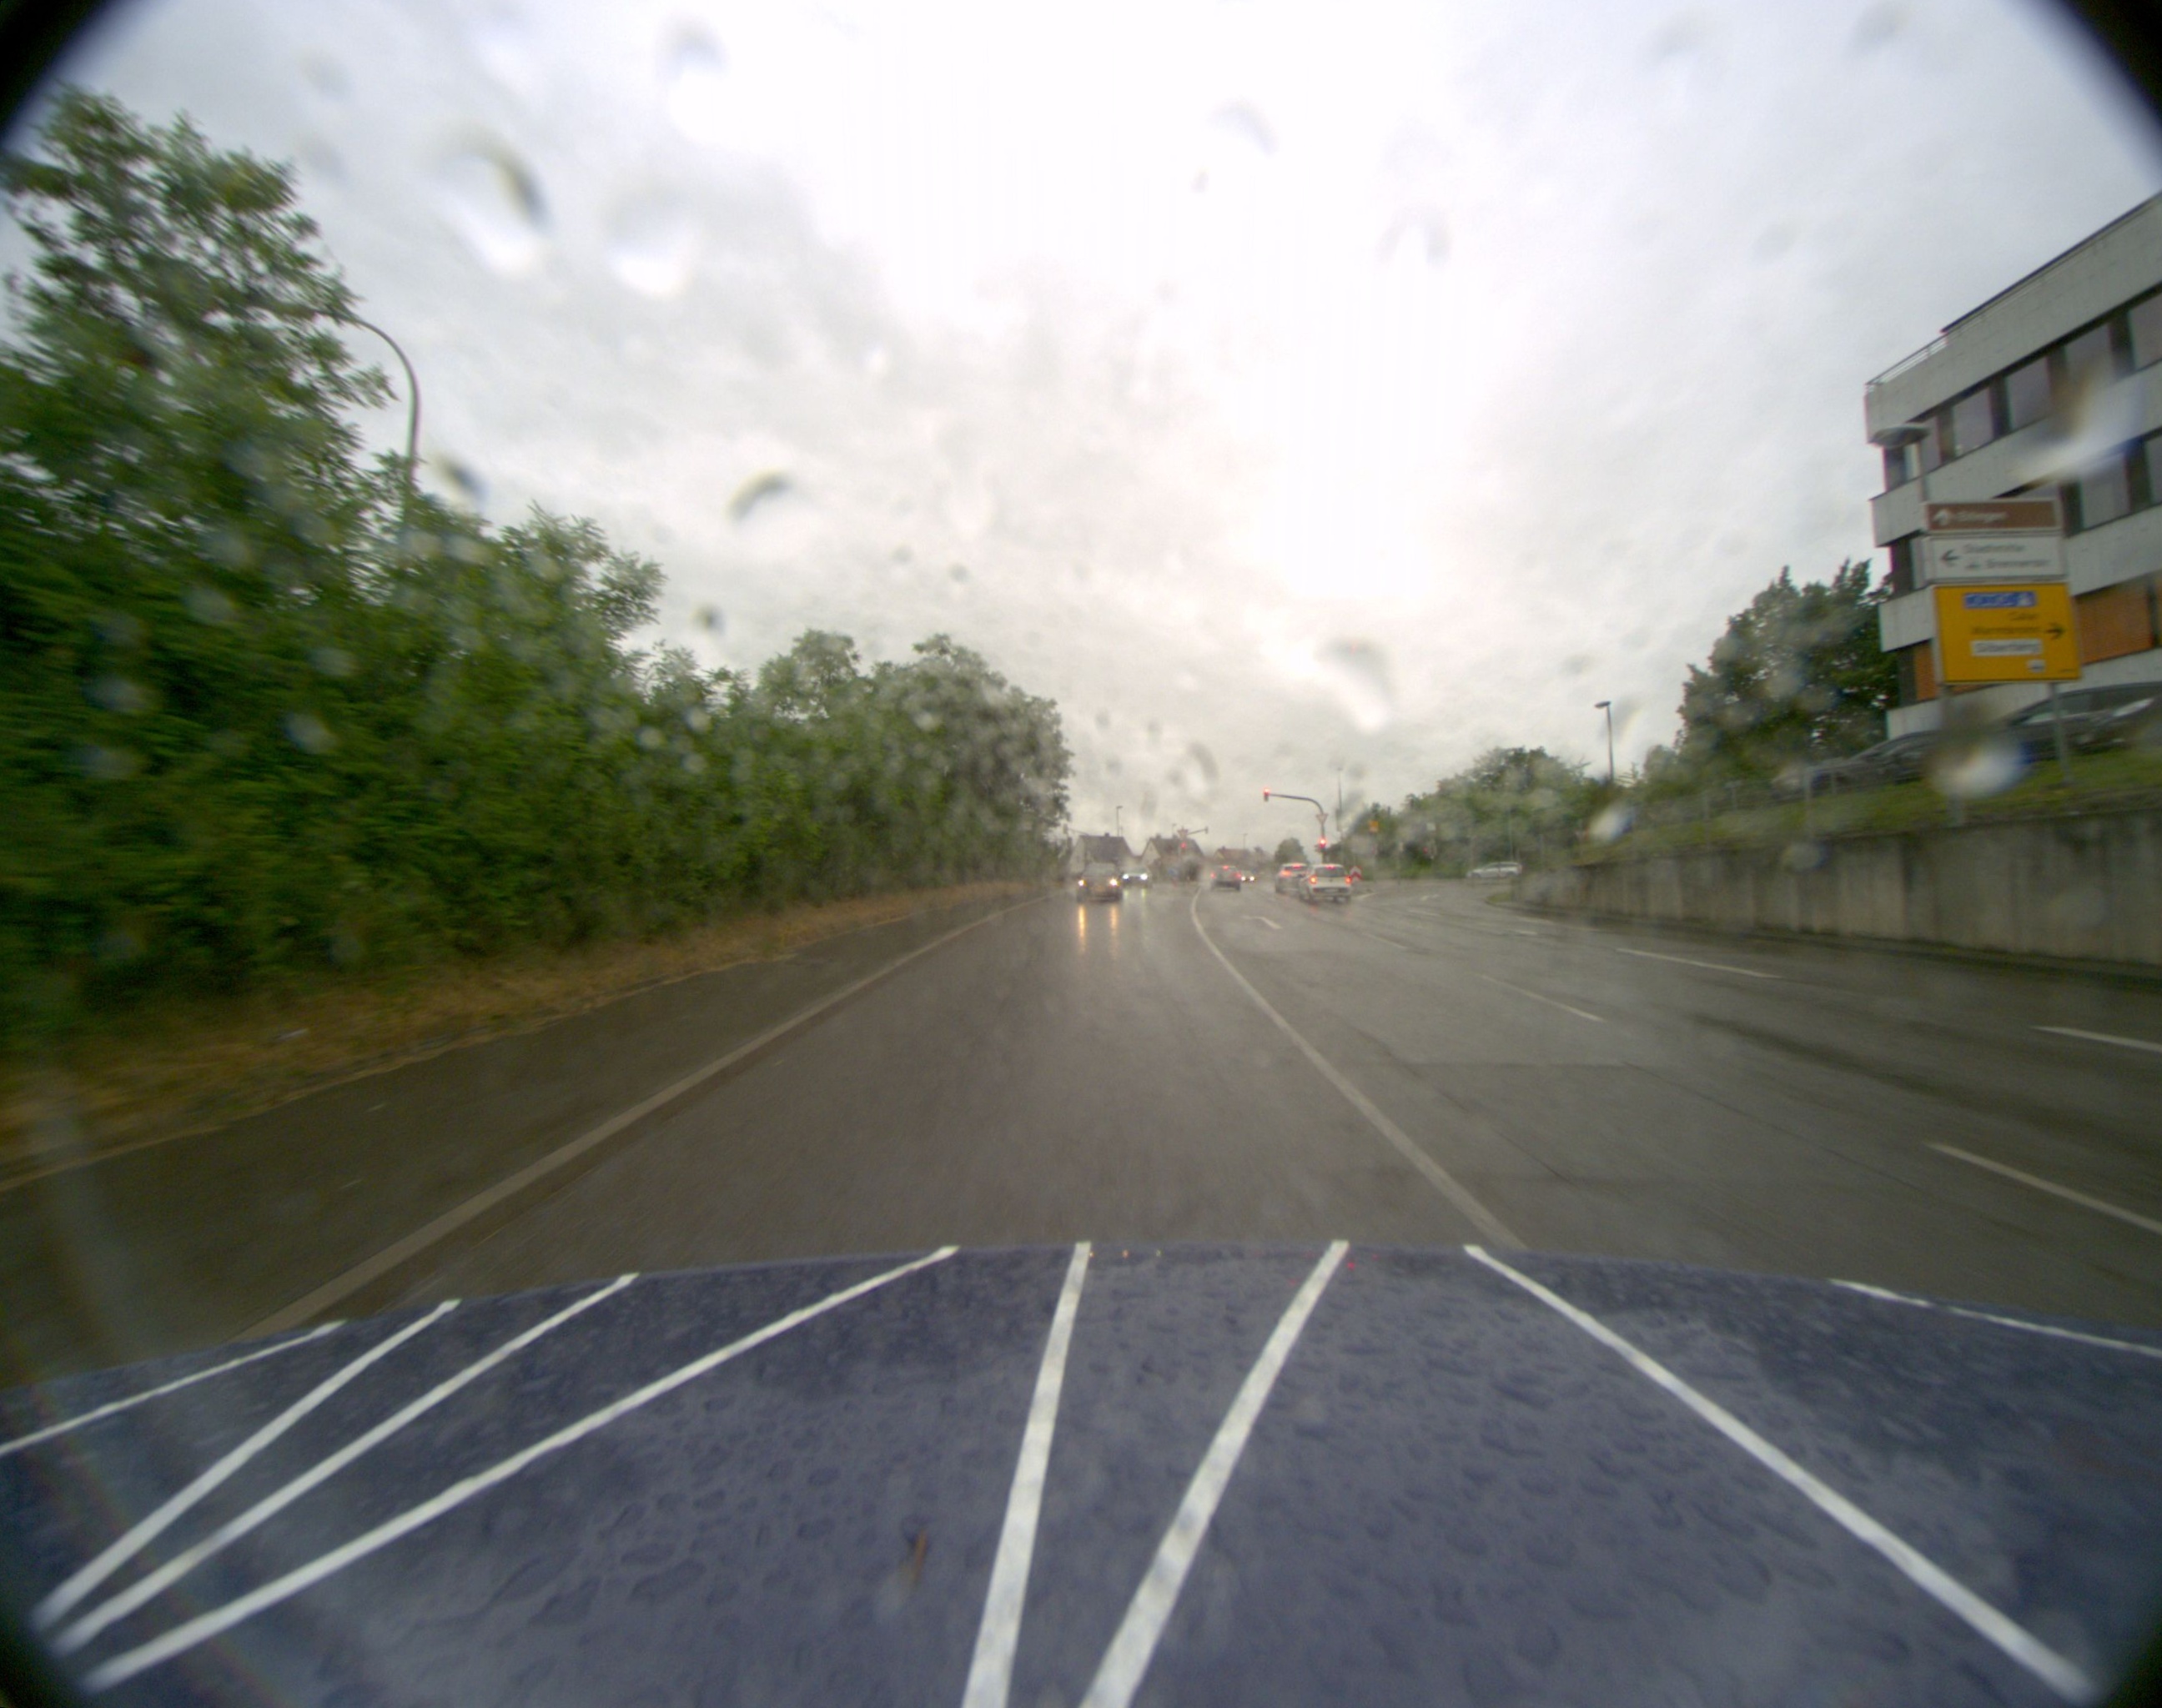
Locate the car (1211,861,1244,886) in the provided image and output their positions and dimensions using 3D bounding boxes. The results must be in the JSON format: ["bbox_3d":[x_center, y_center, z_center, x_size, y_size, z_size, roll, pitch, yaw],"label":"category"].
[{"bbox_3d":[8.665,1.115,45.203,1.737,1.297,3.723,-2,1,8],"label":"car"}]

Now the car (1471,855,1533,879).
[{"bbox_3d":[34.297,1.078,61.943,3.989,1.772,2.004,-2,1,43],"label":"car"}]

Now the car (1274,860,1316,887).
[{"bbox_3d":[11.703,1.037,41.737,1.737,1.297,3.723,-2,1,8],"label":"car"}]

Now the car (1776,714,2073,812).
[{"bbox_3d":[18.132,-1.870,16.665,3.989,1.644,2.004,-2,1,34],"label":"car"}]

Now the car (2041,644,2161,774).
[{"bbox_3d":[16.878,-2.164,10.548,3.989,1.644,2.004,-2,1,34],"label":"car"}]

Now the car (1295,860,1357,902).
[{"bbox_3d":[9.835,1.057,30.769,1.737,1.452,3.723,-2,1,8],"label":"car"}]

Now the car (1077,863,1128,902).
[{"bbox_3d":[0.928,1.103,30.855,1.873,1.432,4.379,0,0,4],"label":"car"}]

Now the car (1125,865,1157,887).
[{"bbox_3d":[4.176,1.475,52.734,1.872,1.432,4.381,0,0,9],"label":"car"}]

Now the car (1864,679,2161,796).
[{"bbox_3d":[17.353,-2.043,13.823,3.989,1.644,2.004,-2,1,34],"label":"car"}]
